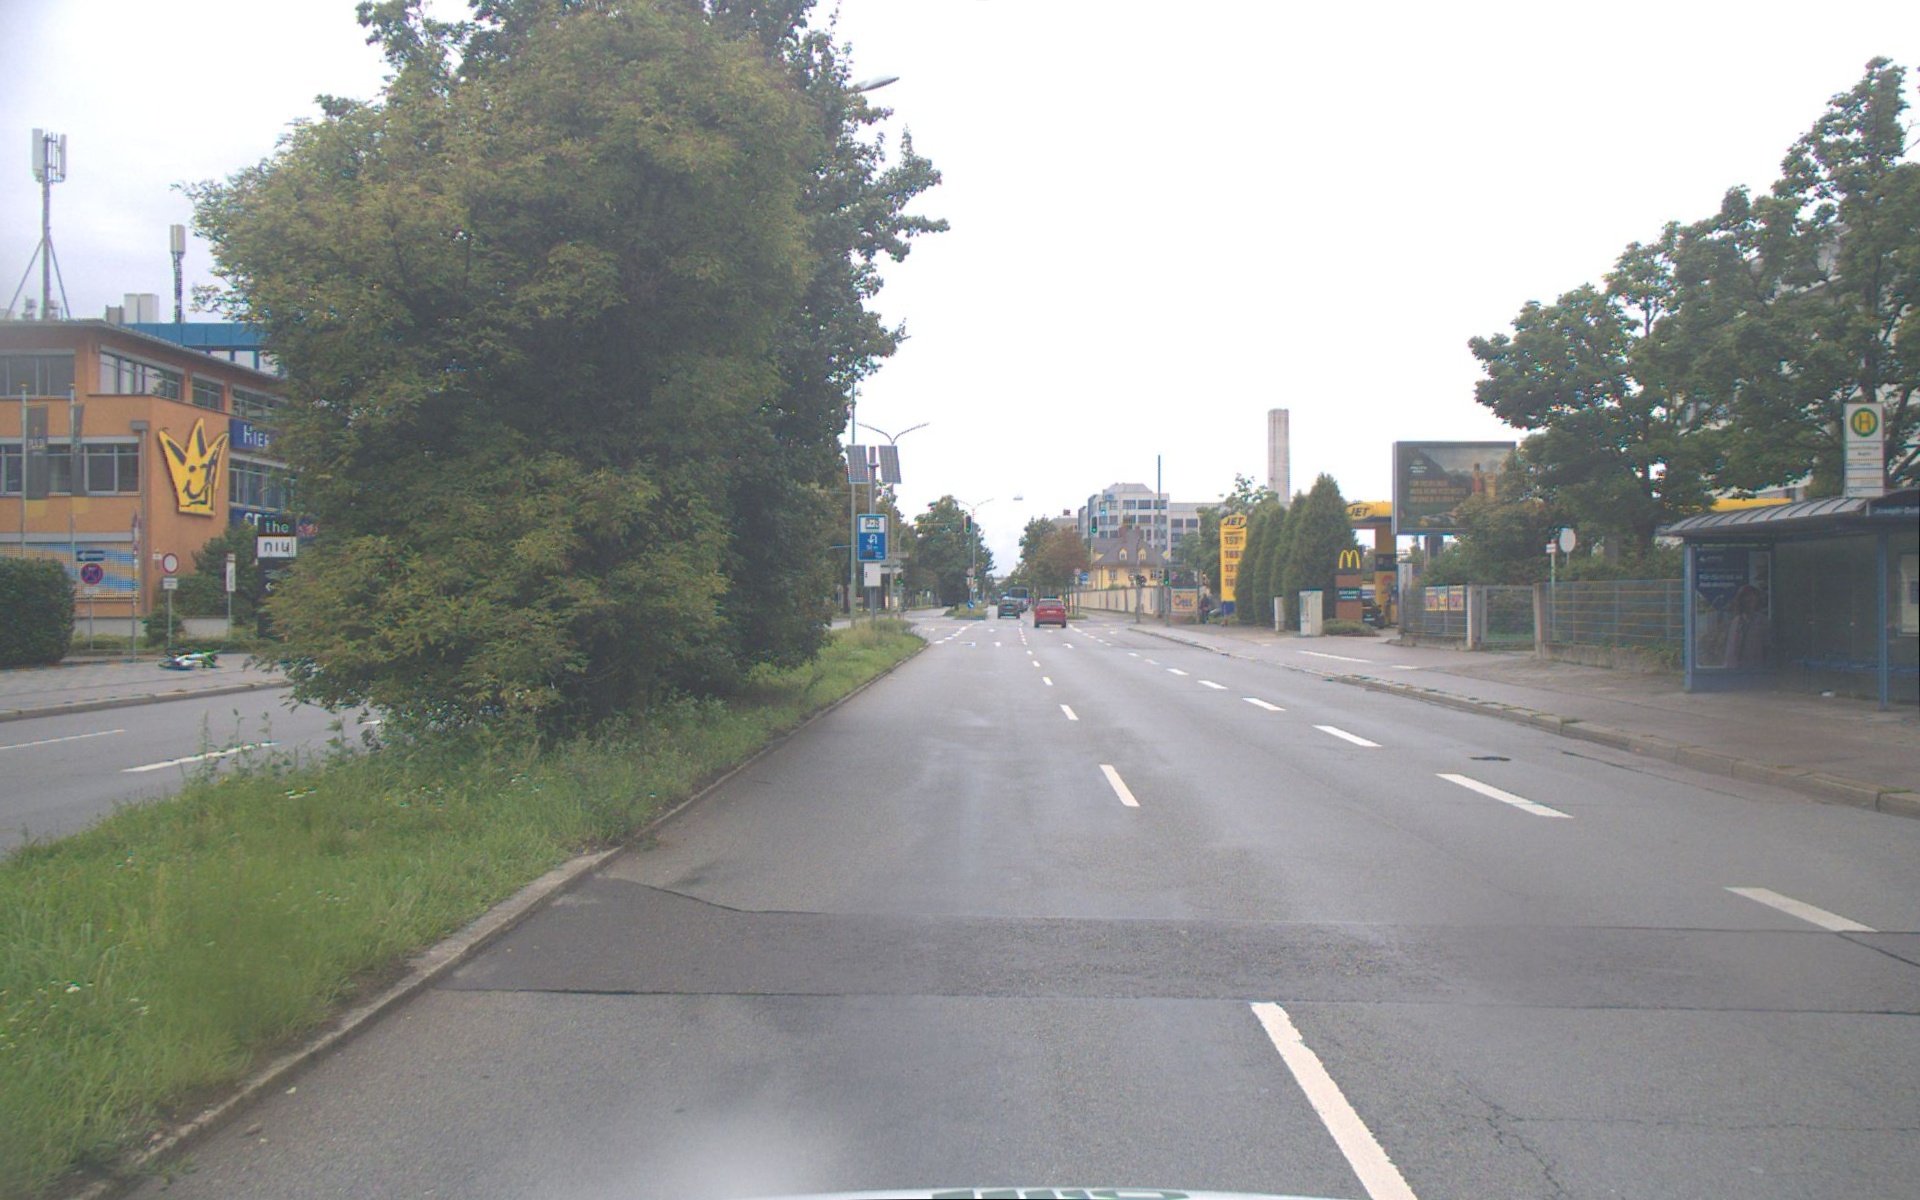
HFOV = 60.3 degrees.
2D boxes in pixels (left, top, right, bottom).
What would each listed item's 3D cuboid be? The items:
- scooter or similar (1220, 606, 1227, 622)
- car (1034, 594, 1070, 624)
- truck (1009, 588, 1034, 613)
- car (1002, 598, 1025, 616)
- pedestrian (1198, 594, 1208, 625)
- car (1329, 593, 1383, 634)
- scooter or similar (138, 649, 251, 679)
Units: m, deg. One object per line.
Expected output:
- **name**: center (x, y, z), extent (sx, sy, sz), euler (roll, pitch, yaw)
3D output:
- **scooter or similar**: center (14.011, 0.738, 87.826), extent (0.171, 0.838, 0.778), euler (0, 0, 24)
- **car**: center (5.143, 0.535, 92.947), extent (1.824, 1.646, 4.000), euler (0, 0, 0)
- **truck**: center (8.214, 0.070, 222.408), extent (2.908, 3.343, 7.914), euler (0, 0, -1)
- **car**: center (4.406, 0.567, 137.196), extent (1.766, 1.458, 3.999), euler (-1, 0, -1)
- **pedestrian**: center (12.982, 0.520, 88.364), extent (0.473, 1.664, 0.591), euler (0, 0, 3)
- **car**: center (18.199, 0.583, 76.115), extent (1.717, 1.825, 4.002), euler (0, 0, 3)
- **scooter or similar**: center (-16.670, 1.404, 36.110), extent (1.438, 0.595, 2.319), euler (-1, -3, -1)
